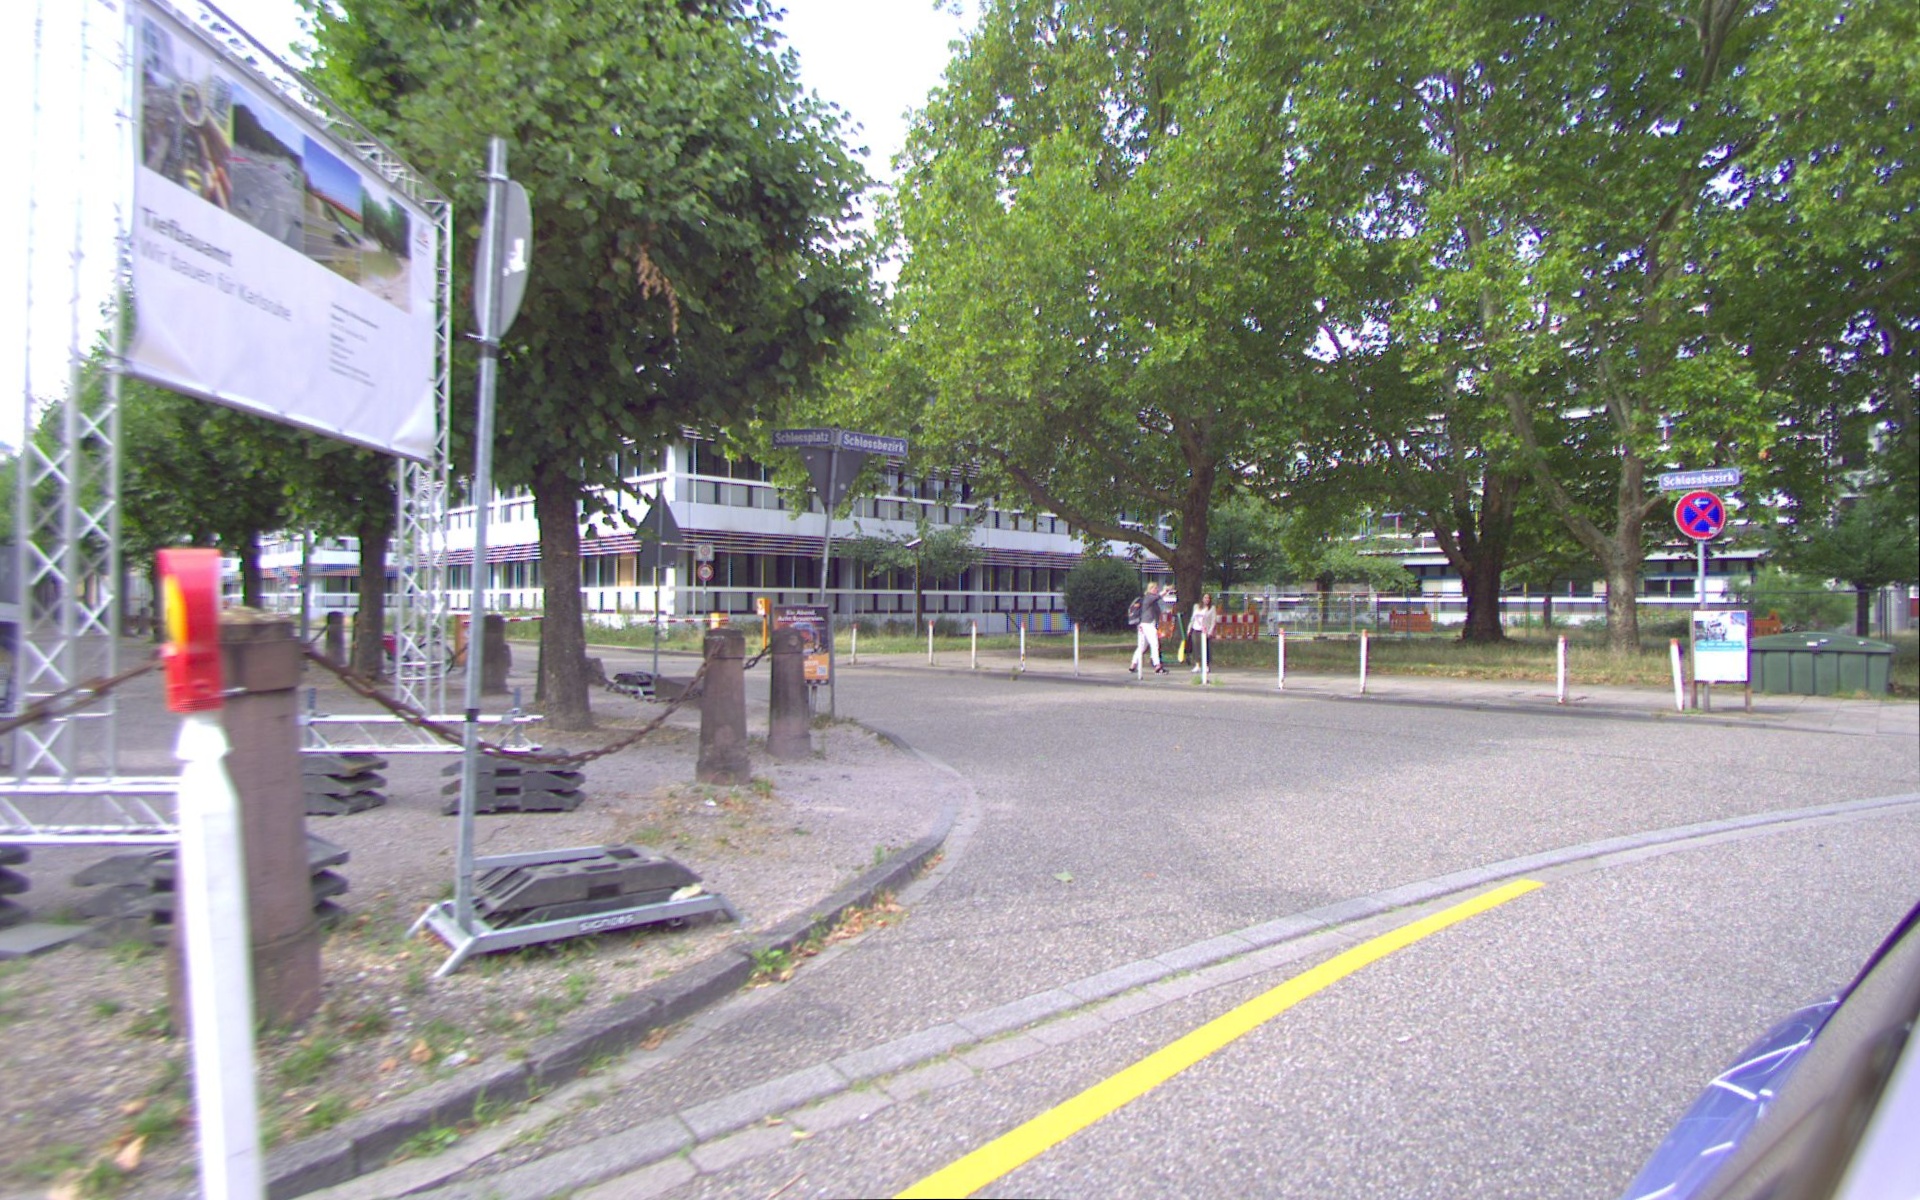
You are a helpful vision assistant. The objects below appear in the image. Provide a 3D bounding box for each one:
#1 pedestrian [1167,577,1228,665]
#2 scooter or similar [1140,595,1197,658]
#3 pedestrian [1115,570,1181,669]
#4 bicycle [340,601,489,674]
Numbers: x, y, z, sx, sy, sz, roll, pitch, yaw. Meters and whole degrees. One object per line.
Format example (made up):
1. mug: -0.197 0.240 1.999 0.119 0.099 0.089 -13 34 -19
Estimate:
1. pedestrian: 4.642 0.408 19.760 0.892 1.662 0.842 1 -2 34
2. scooter or similar: 4.452 0.560 21.544 0.567 1.285 1.433 1 -2 39
3. pedestrian: 3.522 0.359 18.851 0.952 1.764 1.246 1 -1 22
4. bicycle: -9.366 0.613 17.348 2.555 1.124 0.946 1 -1 27
